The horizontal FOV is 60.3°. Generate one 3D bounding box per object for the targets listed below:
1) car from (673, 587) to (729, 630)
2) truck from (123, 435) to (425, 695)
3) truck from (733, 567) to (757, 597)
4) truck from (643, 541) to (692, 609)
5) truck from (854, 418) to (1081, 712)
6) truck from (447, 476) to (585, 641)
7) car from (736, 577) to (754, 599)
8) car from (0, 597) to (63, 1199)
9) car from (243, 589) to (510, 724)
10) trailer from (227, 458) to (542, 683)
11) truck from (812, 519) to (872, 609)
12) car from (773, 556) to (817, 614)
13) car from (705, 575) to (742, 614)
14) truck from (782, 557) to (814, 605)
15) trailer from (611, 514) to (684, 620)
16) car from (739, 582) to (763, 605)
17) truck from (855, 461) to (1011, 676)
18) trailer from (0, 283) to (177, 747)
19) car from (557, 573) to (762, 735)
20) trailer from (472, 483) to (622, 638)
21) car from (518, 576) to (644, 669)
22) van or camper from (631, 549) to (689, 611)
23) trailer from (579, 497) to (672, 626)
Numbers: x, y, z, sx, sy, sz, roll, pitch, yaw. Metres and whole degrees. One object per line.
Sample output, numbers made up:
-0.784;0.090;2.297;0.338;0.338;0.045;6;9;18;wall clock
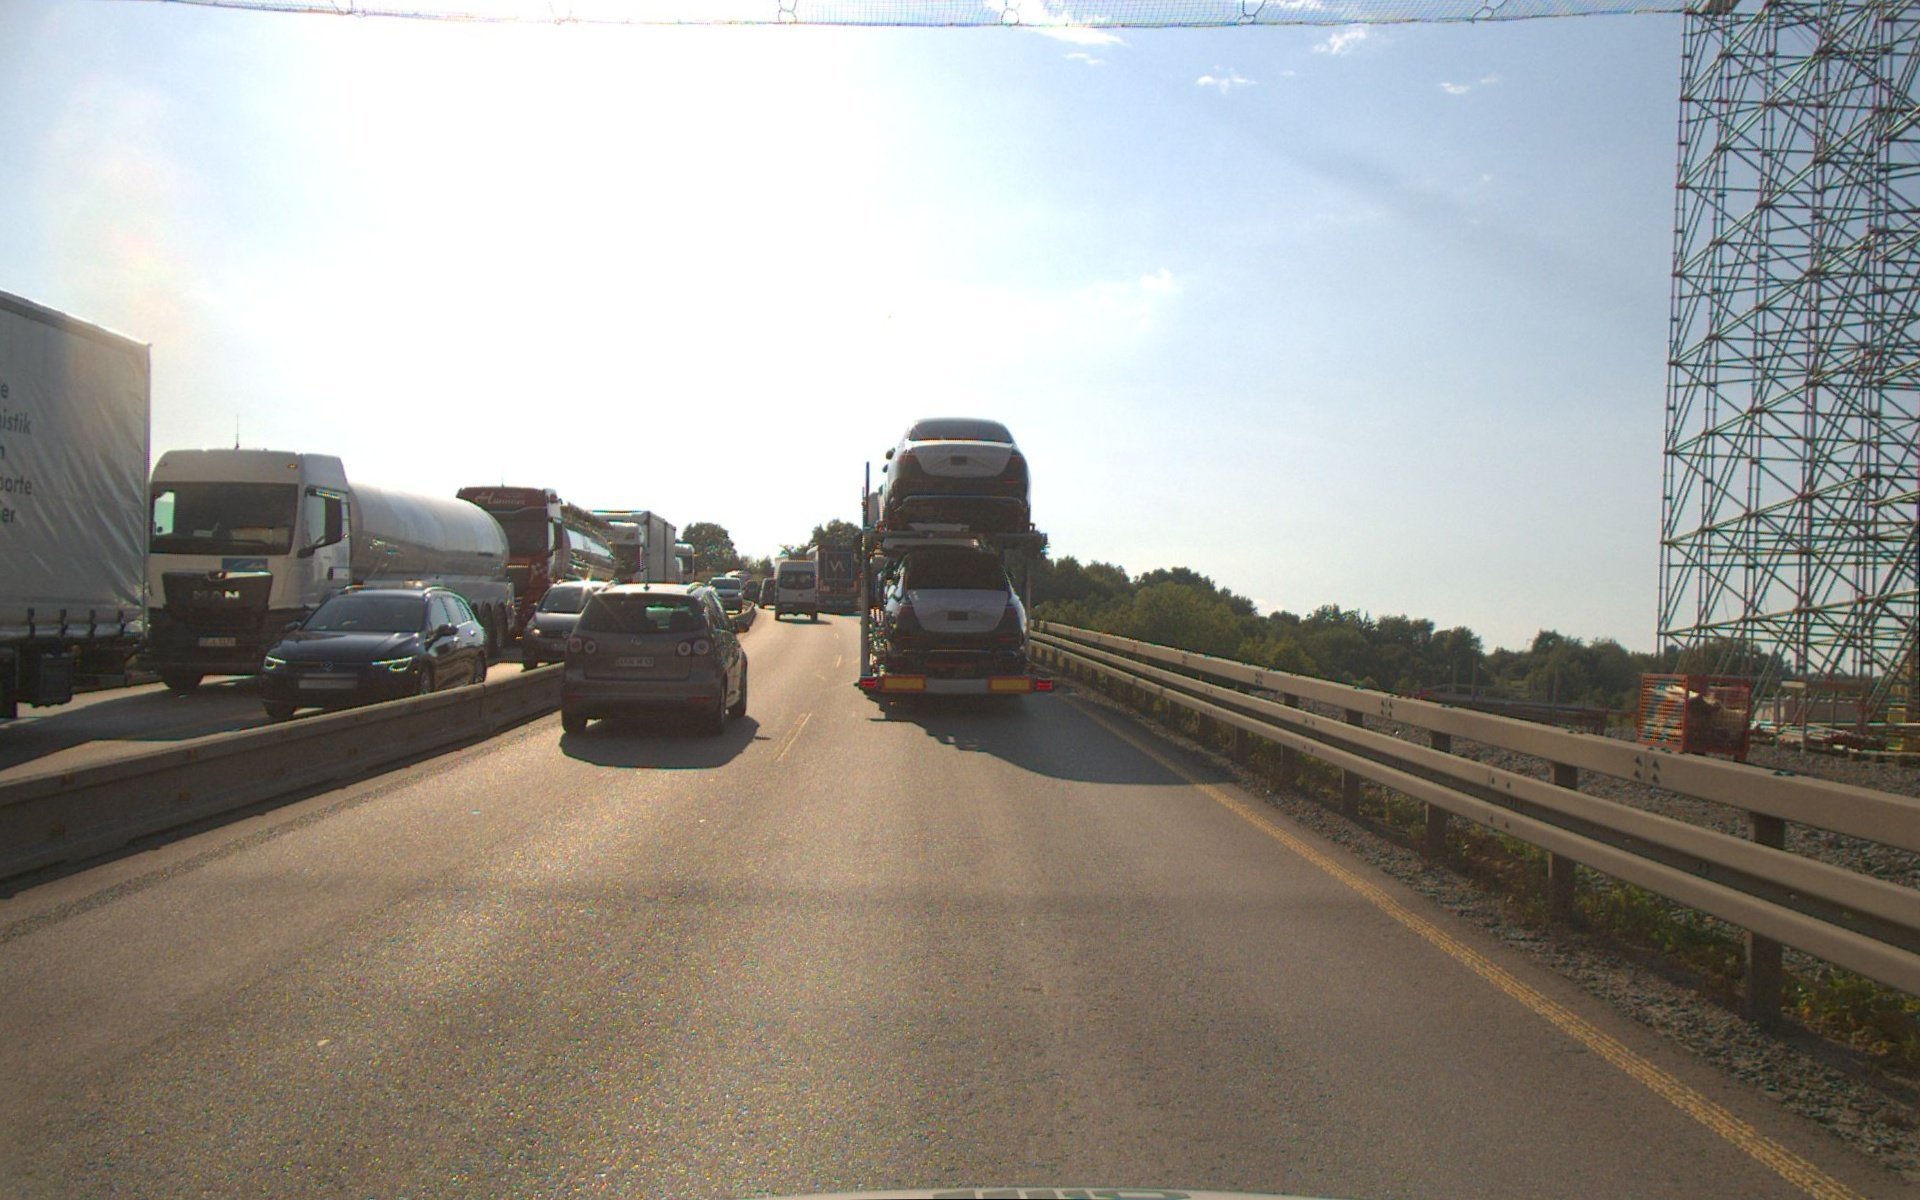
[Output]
-9.175;0.297;58.801;1.595;1.451;4.653;1;0;-5;car
-10.028;-0.462;24.803;2.365;3.429;5.614;1;0;-3;truck
-24.169;-1.975;186.235;2.541;3.226;6.666;1;0;-7;truck
-17.219;-1.419;97.722;2.552;3.819;6.505;1;0;-8;truck
-0.225;-0.422;25.557;2.743;3.558;10.597;1;0;-3;truck
-11.099;-0.981;41.810;2.385;3.851;5.611;1;0;-5;truck
-19.979;-1.106;153.539;1.599;2.049;3.992;1;0;-9;car
-2.926;0.710;1.203;1.895;1.423;4.960;1;0;-1;car
-6.870;0.609;19.960;1.757;1.422;4.243;1;0;-1;car
-10.310;-0.452;31.314;2.261;3.420;12.046;1;0;-3;trailer
-7.494;-2.183;103.828;3.223;5.328;9.921;1;0;-7;truck
-7.545;-0.665;75.796;1.883;2.536;5.403;1;0;-5;car
-12.587;-0.292;88.350;1.782;1.959;4.829;1;0;-6;car
-13.167;-1.519;134.354;2.482;3.712;8.895;1;0;-6;truck
-13.428;-1.341;71.578;2.396;4.262;8.532;1;0;-6;trailer
-17.332;-0.527;137.539;1.791;1.803;3.996;1;0;-5;car
-0.786;-0.573;35.036;2.782;3.858;9.979;1;0;-4;truck
-9.378;-0.744;10.840;2.379;4.032;14.091;1;0;-3;trailer
-3.285;0.552;18.783;1.657;1.624;3.999;1;0;-1;car
-11.584;-0.987;47.504;2.262;3.856;12.040;1;0;-5;trailer
-6.995;0.390;30.890;1.716;1.614;3.939;1;0;-5;car
-15.005;-0.956;83.034;2.362;2.942;7.606;1;0;-7;van or camper
-12.413;-1.322;62.134;2.428;4.404;10.497;1;0;-6;trailer
